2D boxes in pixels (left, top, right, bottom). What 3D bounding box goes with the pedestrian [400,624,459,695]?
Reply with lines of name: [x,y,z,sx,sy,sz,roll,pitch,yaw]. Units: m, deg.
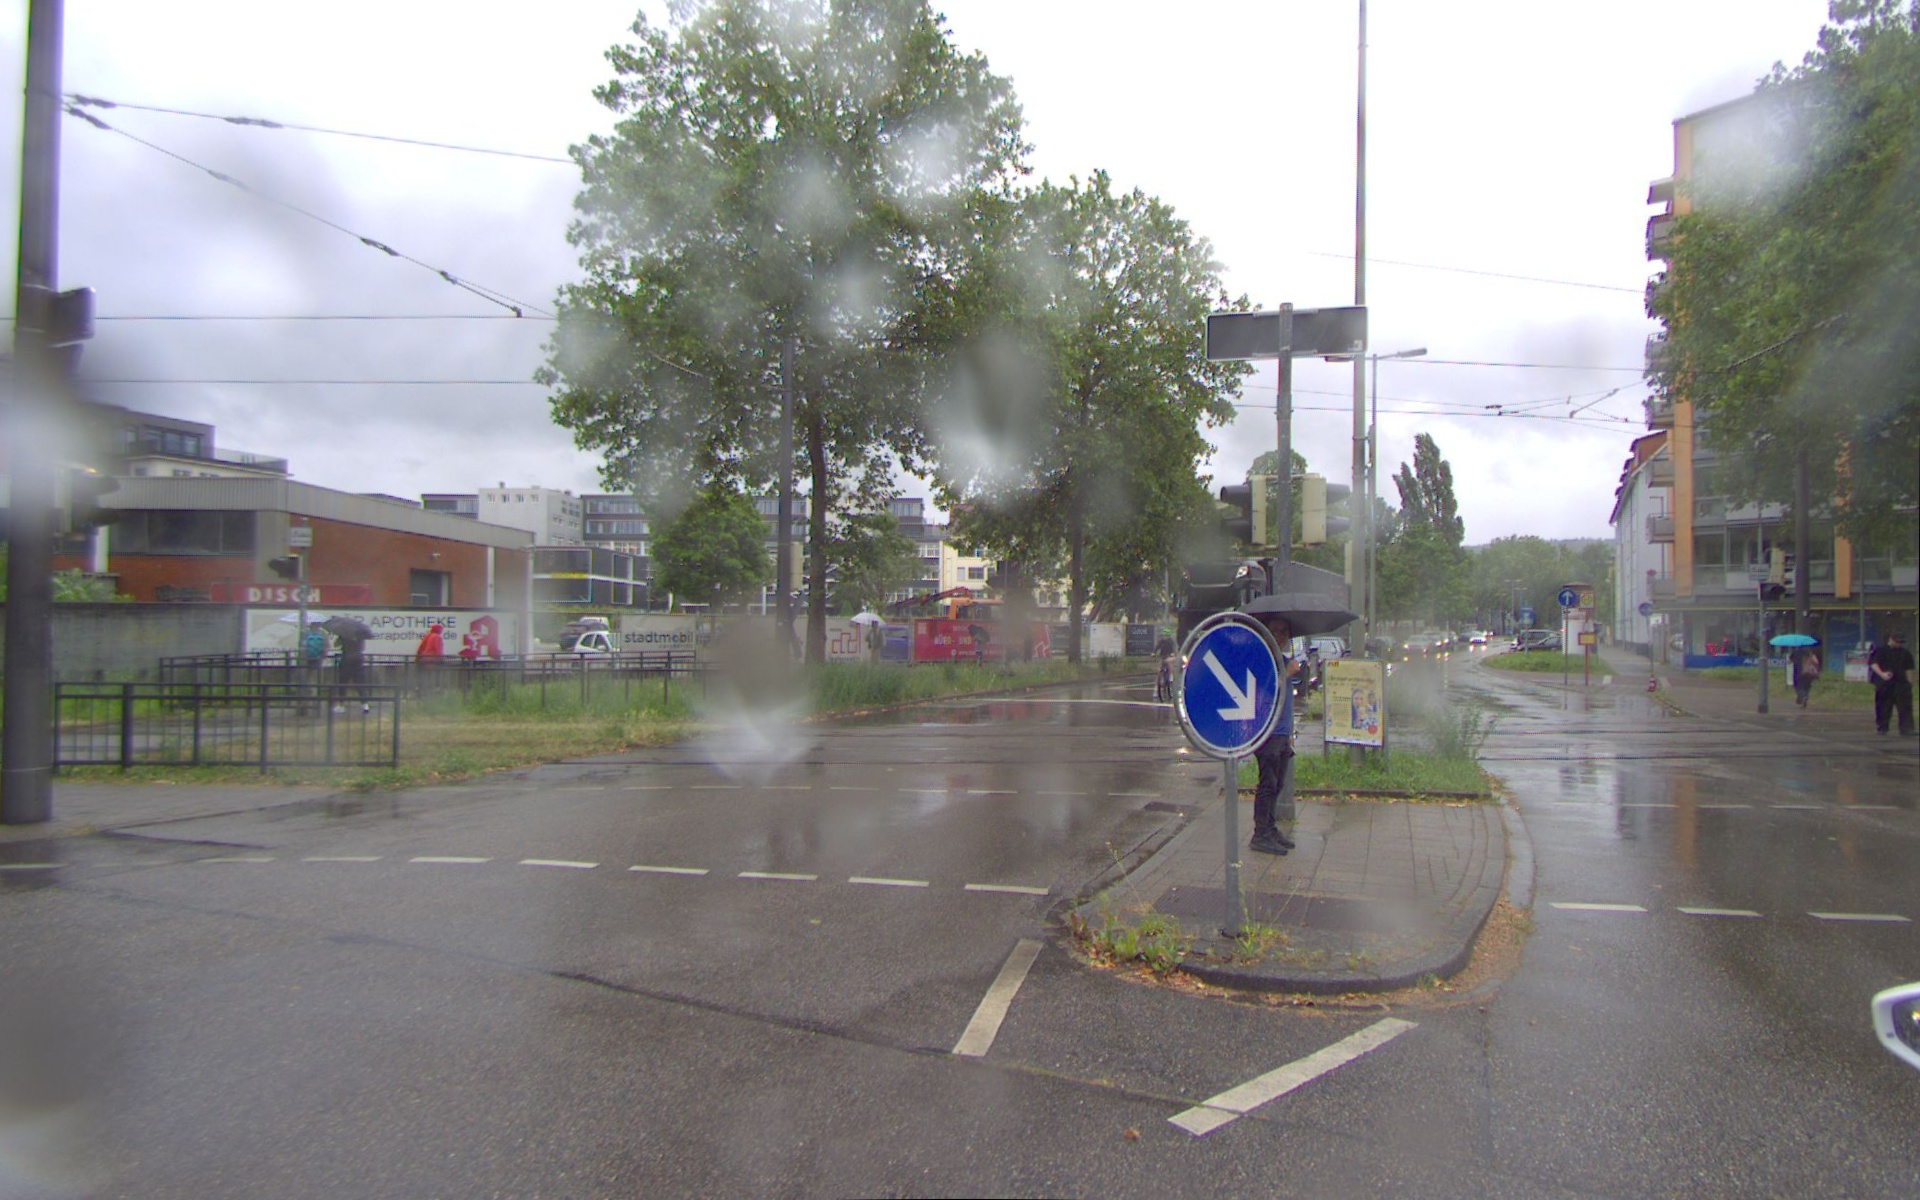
pedestrian: [-11.749,1.303,22.261,0.812,1.524,0.849,-1,-1,4]

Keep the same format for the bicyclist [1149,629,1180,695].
bicyclist: [4.694,1.405,23.036,0.570,1.480,1.011,-1,-1,18]

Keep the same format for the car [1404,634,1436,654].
car: [33.961,3.224,74.082,1.749,1.422,4.822,0,-2,30]

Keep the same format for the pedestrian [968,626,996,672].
pedestrian: [0.760,1.681,34.648,0.764,1.535,0.636,1,-2,-37]

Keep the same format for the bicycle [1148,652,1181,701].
bicycle: [4.716,1.735,23.064,0.523,1.038,1.875,-1,-2,18]

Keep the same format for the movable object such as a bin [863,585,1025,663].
movable object such as a bin: [-0.762,0.962,41.770,6.682,2.969,2.760,0,-1,43]

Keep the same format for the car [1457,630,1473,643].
car: [68.730,4.913,136.641,1.747,1.550,3.997,1,0,24]

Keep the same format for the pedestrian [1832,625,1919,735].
pedestrian: [16.015,1.346,17.278,1.017,1.812,1.238,0,-1,8]

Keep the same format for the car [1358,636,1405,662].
car: [23.825,2.725,56.675,1.703,1.379,4.326,-2,-2,33]

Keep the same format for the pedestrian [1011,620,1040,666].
pedestrian: [2.411,1.564,37.081,0.893,1.671,0.751,0,-1,-14]

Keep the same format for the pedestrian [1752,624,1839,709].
pedestrian: [19.851,1.545,23.906,1.151,1.890,1.385,1,1,20]

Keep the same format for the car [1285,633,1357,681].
car: [11.825,1.797,32.750,1.672,1.391,4.094,0,-1,28]

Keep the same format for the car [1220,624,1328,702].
car: [8.515,1.581,26.958,2.041,1.705,4.924,2,1,25]

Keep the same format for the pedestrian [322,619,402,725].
pedestrian: [-10.933,1.296,18.402,0.937,1.887,0.849,-1,-1,4]

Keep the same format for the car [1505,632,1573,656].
car: [41.073,3.102,71.317,4.128,1.589,1.885,-1,-2,30]

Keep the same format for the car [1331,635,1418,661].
car: [25.683,2.943,62.486,2.059,1.473,4.897,1,-2,-26]

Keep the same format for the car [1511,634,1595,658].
car: [37.218,2.871,63.147,4.469,1.489,1.979,-1,-2,32]

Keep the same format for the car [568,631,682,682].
car: [-9.976,1.628,29.806,1.832,1.338,3.617,2,-1,-44]

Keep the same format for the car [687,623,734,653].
car: [-15.150,2.281,61.213,1.961,1.760,4.421,1,-1,-3]

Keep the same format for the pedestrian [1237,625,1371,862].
pedestrian: [2.442,0.985,7.222,0.846,1.602,0.643,-1,-1,15]

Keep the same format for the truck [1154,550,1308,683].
truck: [9.622,0.591,35.060,3.401,4.132,6.959,0,-1,31]

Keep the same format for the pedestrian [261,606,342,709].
pedestrian: [-12.389,1.079,18.918,0.937,1.887,0.849,-1,-1,4]

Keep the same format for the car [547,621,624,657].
car: [-19.777,2.017,53.290,2.126,1.764,4.807,1,-1,2]

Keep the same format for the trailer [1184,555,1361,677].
trailer: [13.251,0.723,41.026,3.393,4.102,15.017,-1,-2,31]

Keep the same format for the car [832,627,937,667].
car: [-2.827,1.713,37.342,3.609,1.338,1.835,0,-1,40]

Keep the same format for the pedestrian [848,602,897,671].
pedestrian: [-2.564,1.058,29.548,0.896,1.990,1.212,0,-1,32]
